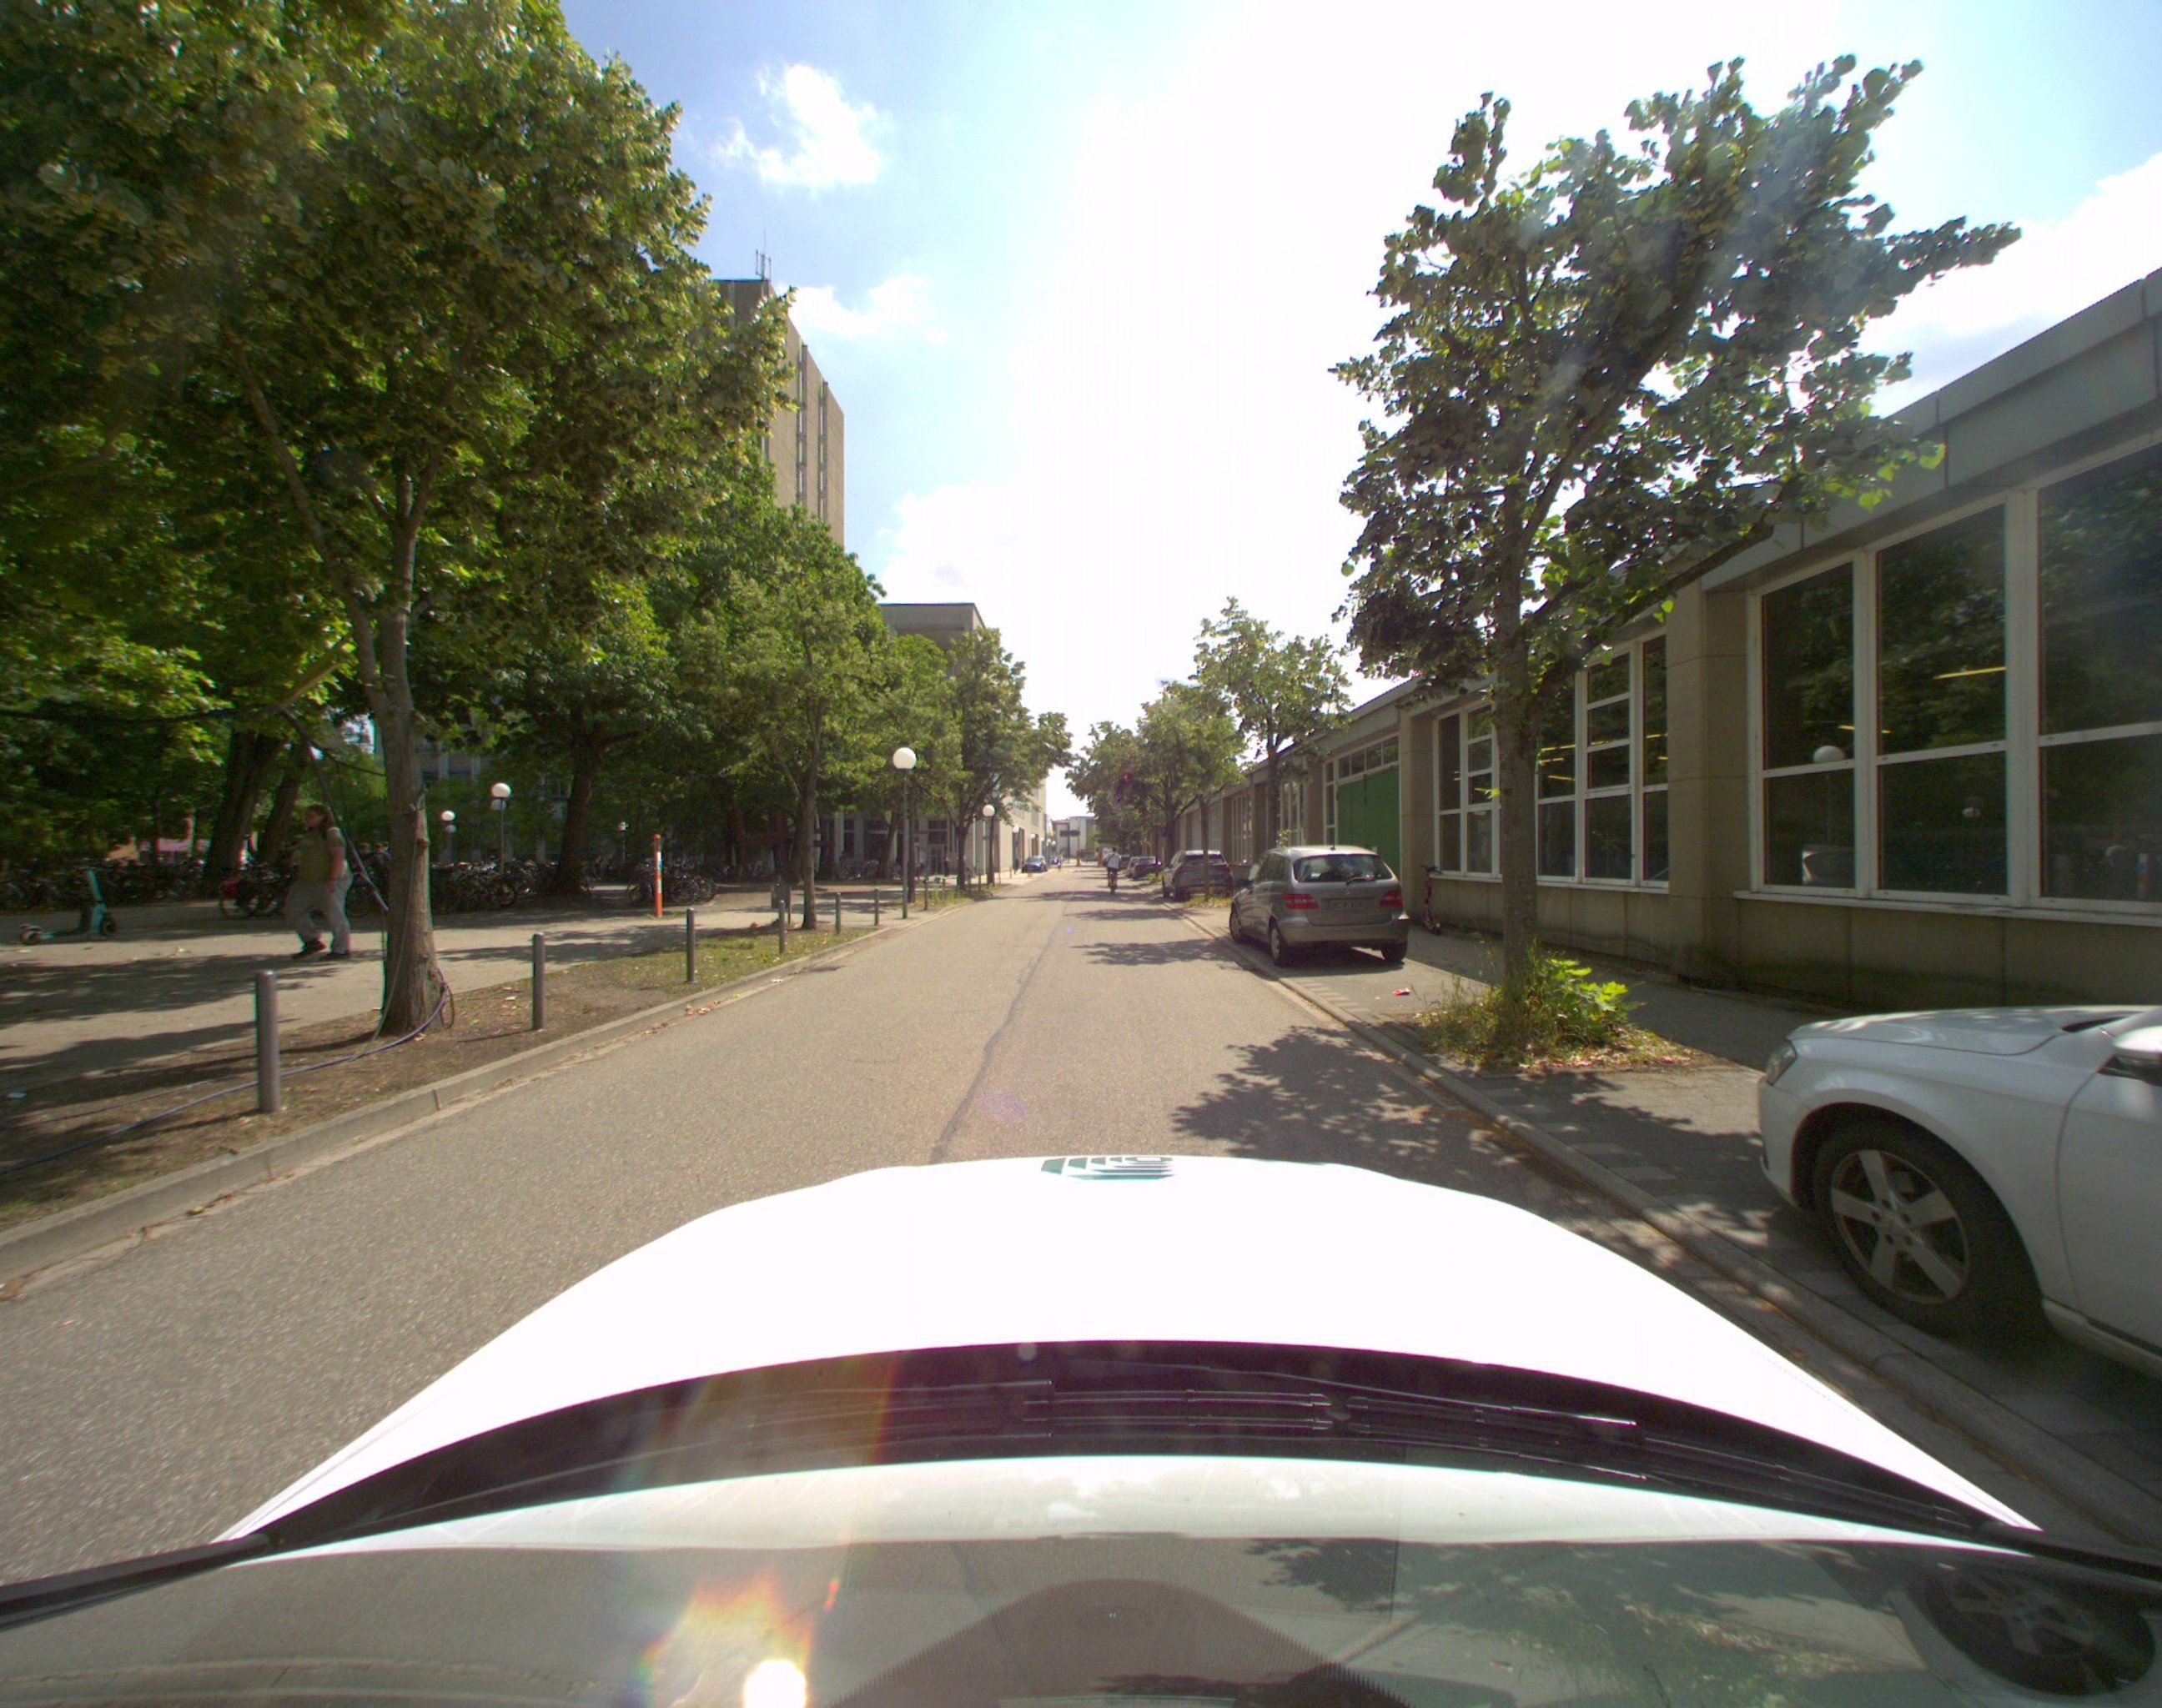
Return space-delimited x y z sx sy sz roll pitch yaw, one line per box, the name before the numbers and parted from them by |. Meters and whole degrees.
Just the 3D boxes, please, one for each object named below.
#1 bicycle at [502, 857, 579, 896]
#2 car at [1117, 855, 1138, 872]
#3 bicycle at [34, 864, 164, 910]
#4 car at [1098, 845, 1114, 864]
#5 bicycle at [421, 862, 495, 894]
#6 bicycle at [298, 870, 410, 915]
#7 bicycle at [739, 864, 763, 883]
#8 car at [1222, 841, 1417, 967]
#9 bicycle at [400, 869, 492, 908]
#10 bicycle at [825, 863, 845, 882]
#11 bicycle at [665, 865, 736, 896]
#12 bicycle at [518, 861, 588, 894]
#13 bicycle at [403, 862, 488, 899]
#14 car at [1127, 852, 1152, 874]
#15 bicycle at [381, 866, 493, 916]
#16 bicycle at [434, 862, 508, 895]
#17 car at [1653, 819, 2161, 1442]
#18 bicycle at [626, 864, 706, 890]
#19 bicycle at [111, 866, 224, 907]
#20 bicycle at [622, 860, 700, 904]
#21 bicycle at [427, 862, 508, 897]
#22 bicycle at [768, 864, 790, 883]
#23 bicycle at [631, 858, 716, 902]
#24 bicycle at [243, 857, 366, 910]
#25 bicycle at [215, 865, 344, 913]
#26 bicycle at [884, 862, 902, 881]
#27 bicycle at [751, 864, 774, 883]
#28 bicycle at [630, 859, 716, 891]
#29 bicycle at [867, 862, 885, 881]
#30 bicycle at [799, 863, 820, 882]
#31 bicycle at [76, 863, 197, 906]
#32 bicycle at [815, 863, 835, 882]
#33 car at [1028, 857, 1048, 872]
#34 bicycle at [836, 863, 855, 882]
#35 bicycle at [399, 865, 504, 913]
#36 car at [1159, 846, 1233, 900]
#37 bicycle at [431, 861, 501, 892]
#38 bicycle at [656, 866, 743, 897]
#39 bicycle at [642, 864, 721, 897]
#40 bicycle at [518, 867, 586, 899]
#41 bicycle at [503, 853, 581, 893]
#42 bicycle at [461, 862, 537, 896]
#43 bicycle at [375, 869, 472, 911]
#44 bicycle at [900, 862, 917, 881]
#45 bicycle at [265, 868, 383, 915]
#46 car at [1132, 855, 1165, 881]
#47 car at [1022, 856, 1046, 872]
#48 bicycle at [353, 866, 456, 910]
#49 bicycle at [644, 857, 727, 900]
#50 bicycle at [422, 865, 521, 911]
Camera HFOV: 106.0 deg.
bicycle | -17.784 0.726 26.840 2.069 1.234 0.633 1 0 -35
car | 4.536 0.923 79.570 1.852 1.574 4.001 -2 0 1
bicycle | -24.130 0.795 20.048 1.959 1.091 0.593 1 -2 -22
car | 3.374 0.131 111.186 2.077 2.539 4.315 1 0 0
bicycle | -21.892 0.835 28.651 1.972 1.089 0.542 1 0 -29
bicycle | -17.165 0.901 19.258 1.961 1.027 0.536 0 0 -10
bicycle | -19.744 1.165 48.759 0.550 1.086 1.973 1 0 1
car | 3.427 0.647 12.533 1.699 1.574 4.139 -2 0 -1
bicycle | -17.909 0.965 23.008 1.965 1.089 0.544 0 0 -17
bicycle | -14.656 1.083 48.607 0.550 1.086 1.973 1 0 1
bicycle | -13.017 0.900 27.884 2.160 1.008 0.671 0 0 -30
bicycle | -18.822 0.818 29.070 2.069 1.158 0.633 0 0 -35
bicycle | -19.410 0.790 24.933 1.972 1.089 0.542 1 0 -29
car | 4.076 0.617 57.252 1.610 1.538 3.780 0 0 1
bicycle | -14.323 0.809 18.165 1.861 1.089 0.543 0 0 -21
bicycle | -21.008 0.828 28.075 1.972 1.089 0.542 1 0 -29
car | 3.398 0.629 1.227 1.720 1.467 4.670 -1 0 -1
bicycle | -16.859 0.930 33.128 2.748 1.003 0.872 0 0 -42
bicycle | -24.838 0.876 22.186 1.959 1.091 0.593 1 -2 -22
bicycle | -11.179 0.736 21.728 1.777 1.132 0.456 0 0 -17
bicycle | -19.506 0.794 25.946 1.972 1.089 0.542 1 0 -29
bicycle | -18.033 1.135 48.632 0.550 1.086 1.973 1 0 1
bicycle | -11.599 0.737 23.254 2.059 1.234 0.804 1 -1 -17
bicycle | -17.030 0.638 17.886 1.961 1.125 0.536 0 0 -10
bicycle | -16.948 0.734 17.262 1.961 1.003 0.536 0 0 -10
bicycle | -11.229 1.037 48.740 0.550 1.086 1.973 1 0 1
bicycle | -18.966 1.145 48.538 0.550 1.086 1.973 1 0 1
bicycle | -16.165 0.815 32.330 2.924 1.220 0.872 0 0 -42
bicycle | -12.334 1.064 49.038 0.550 1.086 1.973 1 0 1
bicycle | -16.149 1.102 48.512 0.550 1.086 1.973 1 0 1
bicycle | -24.507 0.778 21.165 1.959 1.091 0.593 1 -2 -22
bicycle | -15.305 1.098 48.735 0.550 1.086 1.973 1 0 1
car | -4.191 1.040 80.317 1.625 1.485 4.178 0 -1 1
bicycle | -14.049 1.075 48.635 0.550 1.086 1.973 1 0 1
bicycle | -14.801 0.819 19.211 1.861 1.089 0.543 0 0 -21
car | 3.862 0.638 28.086 1.817 1.664 4.581 -2 -1 -1
bicycle | -22.424 0.810 29.735 1.972 1.089 0.542 1 0 -29
bicycle | -14.077 0.984 30.097 2.766 1.086 0.872 0 0 -42
bicycle | -12.426 0.809 25.366 2.160 1.008 0.671 0 0 -30
bicycle | -19.480 1.065 30.010 2.069 1.132 0.633 1 0 -35
bicycle | -17.386 0.609 26.304 2.069 1.234 0.633 0 0 -35
bicycle | -19.405 0.831 27.197 1.972 1.089 0.542 1 0 -29
bicycle | -17.756 0.969 22.032 1.965 1.089 0.544 0 0 -17
bicycle | -10.284 1.015 48.545 0.550 1.086 1.973 1 0 1
bicycle | -17.148 0.848 18.490 1.961 1.027 0.536 0 0 -10
car | 4.221 0.857 51.595 1.774 1.476 4.462 -2 0 1
car | -4.313 0.944 75.119 1.759 1.427 4.237 0 -1 2
bicycle | -17.450 0.862 21.039 1.966 1.089 0.534 0 0 -17
bicycle | -11.683 0.722 24.138 2.059 1.234 0.804 2 -1 -17
bicycle | -15.146 0.835 20.281 1.861 1.089 0.543 0 0 -21
